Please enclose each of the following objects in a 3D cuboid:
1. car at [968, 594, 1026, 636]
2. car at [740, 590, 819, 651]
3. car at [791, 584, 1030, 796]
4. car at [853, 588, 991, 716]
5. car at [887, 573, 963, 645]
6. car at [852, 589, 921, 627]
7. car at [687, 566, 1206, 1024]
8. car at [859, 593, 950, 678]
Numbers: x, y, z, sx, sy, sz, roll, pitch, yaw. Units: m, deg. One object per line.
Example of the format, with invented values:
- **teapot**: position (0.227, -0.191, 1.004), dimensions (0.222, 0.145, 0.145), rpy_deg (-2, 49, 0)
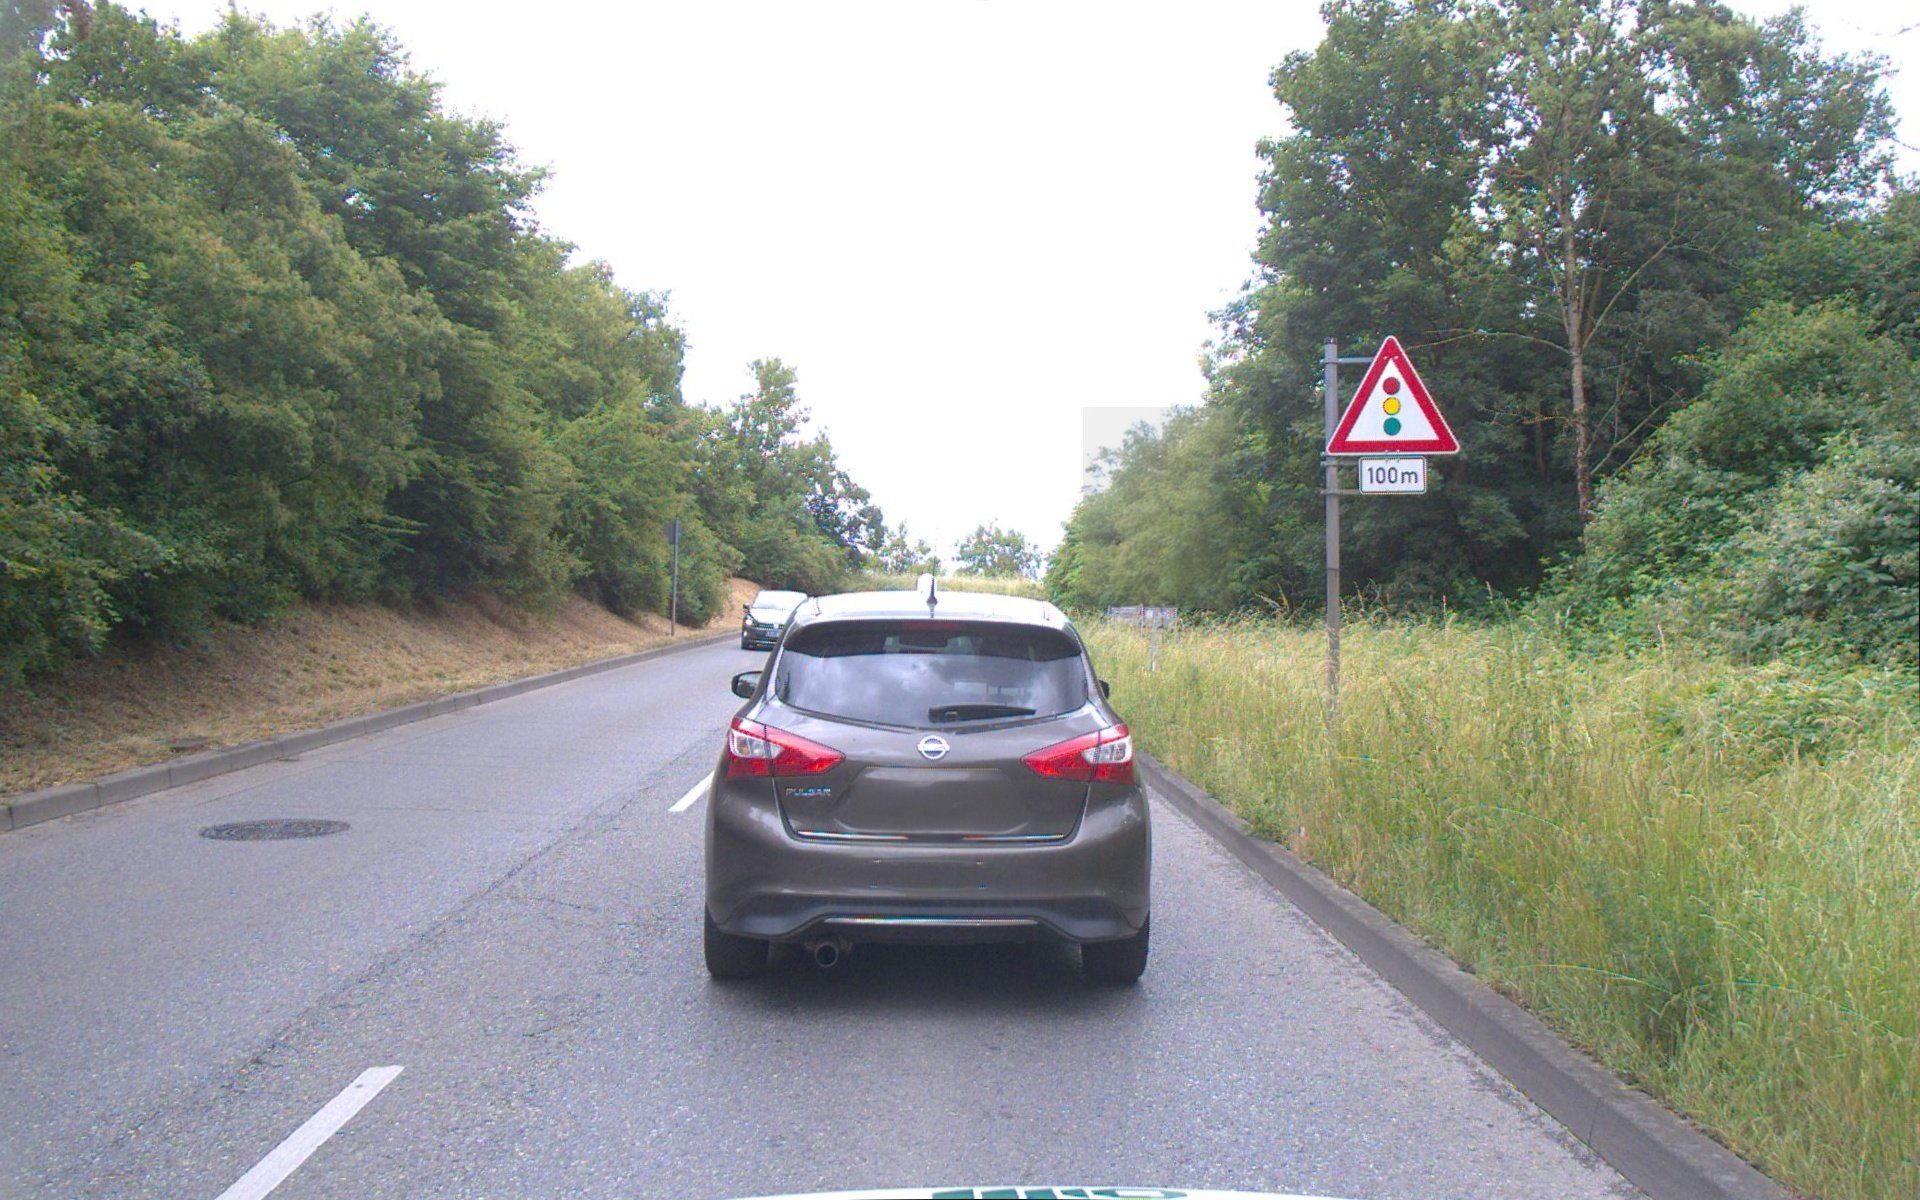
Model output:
- **car**: position (1.455, 0.558, 64.234), dimensions (1.699, 1.553, 3.546), rpy_deg (0, 0, 11)
- **car**: position (-4.449, 0.489, 41.145), dimensions (1.609, 1.425, 3.820), rpy_deg (1, 0, -1)
- **car**: position (-0.384, 0.668, 14.214), dimensions (1.793, 1.583, 3.624), rpy_deg (0, 0, -1)
- **car**: position (-0.484, 0.632, 22.147), dimensions (1.700, 1.583, 3.543), rpy_deg (0, 0, -1)
- **car**: position (-0.947, 0.240, 46.799), dimensions (1.699, 1.968, 3.546), rpy_deg (0, 0, 6)
- **car**: position (-2.992, 0.360, 67.965), dimensions (1.608, 1.424, 3.823), rpy_deg (4, 0, 17)
- **car**: position (-0.109, 0.674, 7.504), dimensions (1.793, 1.583, 3.497), rpy_deg (0, 0, -2)
- **car**: position (-1.057, 0.659, 32.747), dimensions (1.700, 1.583, 3.543), rpy_deg (0, 0, -1)
